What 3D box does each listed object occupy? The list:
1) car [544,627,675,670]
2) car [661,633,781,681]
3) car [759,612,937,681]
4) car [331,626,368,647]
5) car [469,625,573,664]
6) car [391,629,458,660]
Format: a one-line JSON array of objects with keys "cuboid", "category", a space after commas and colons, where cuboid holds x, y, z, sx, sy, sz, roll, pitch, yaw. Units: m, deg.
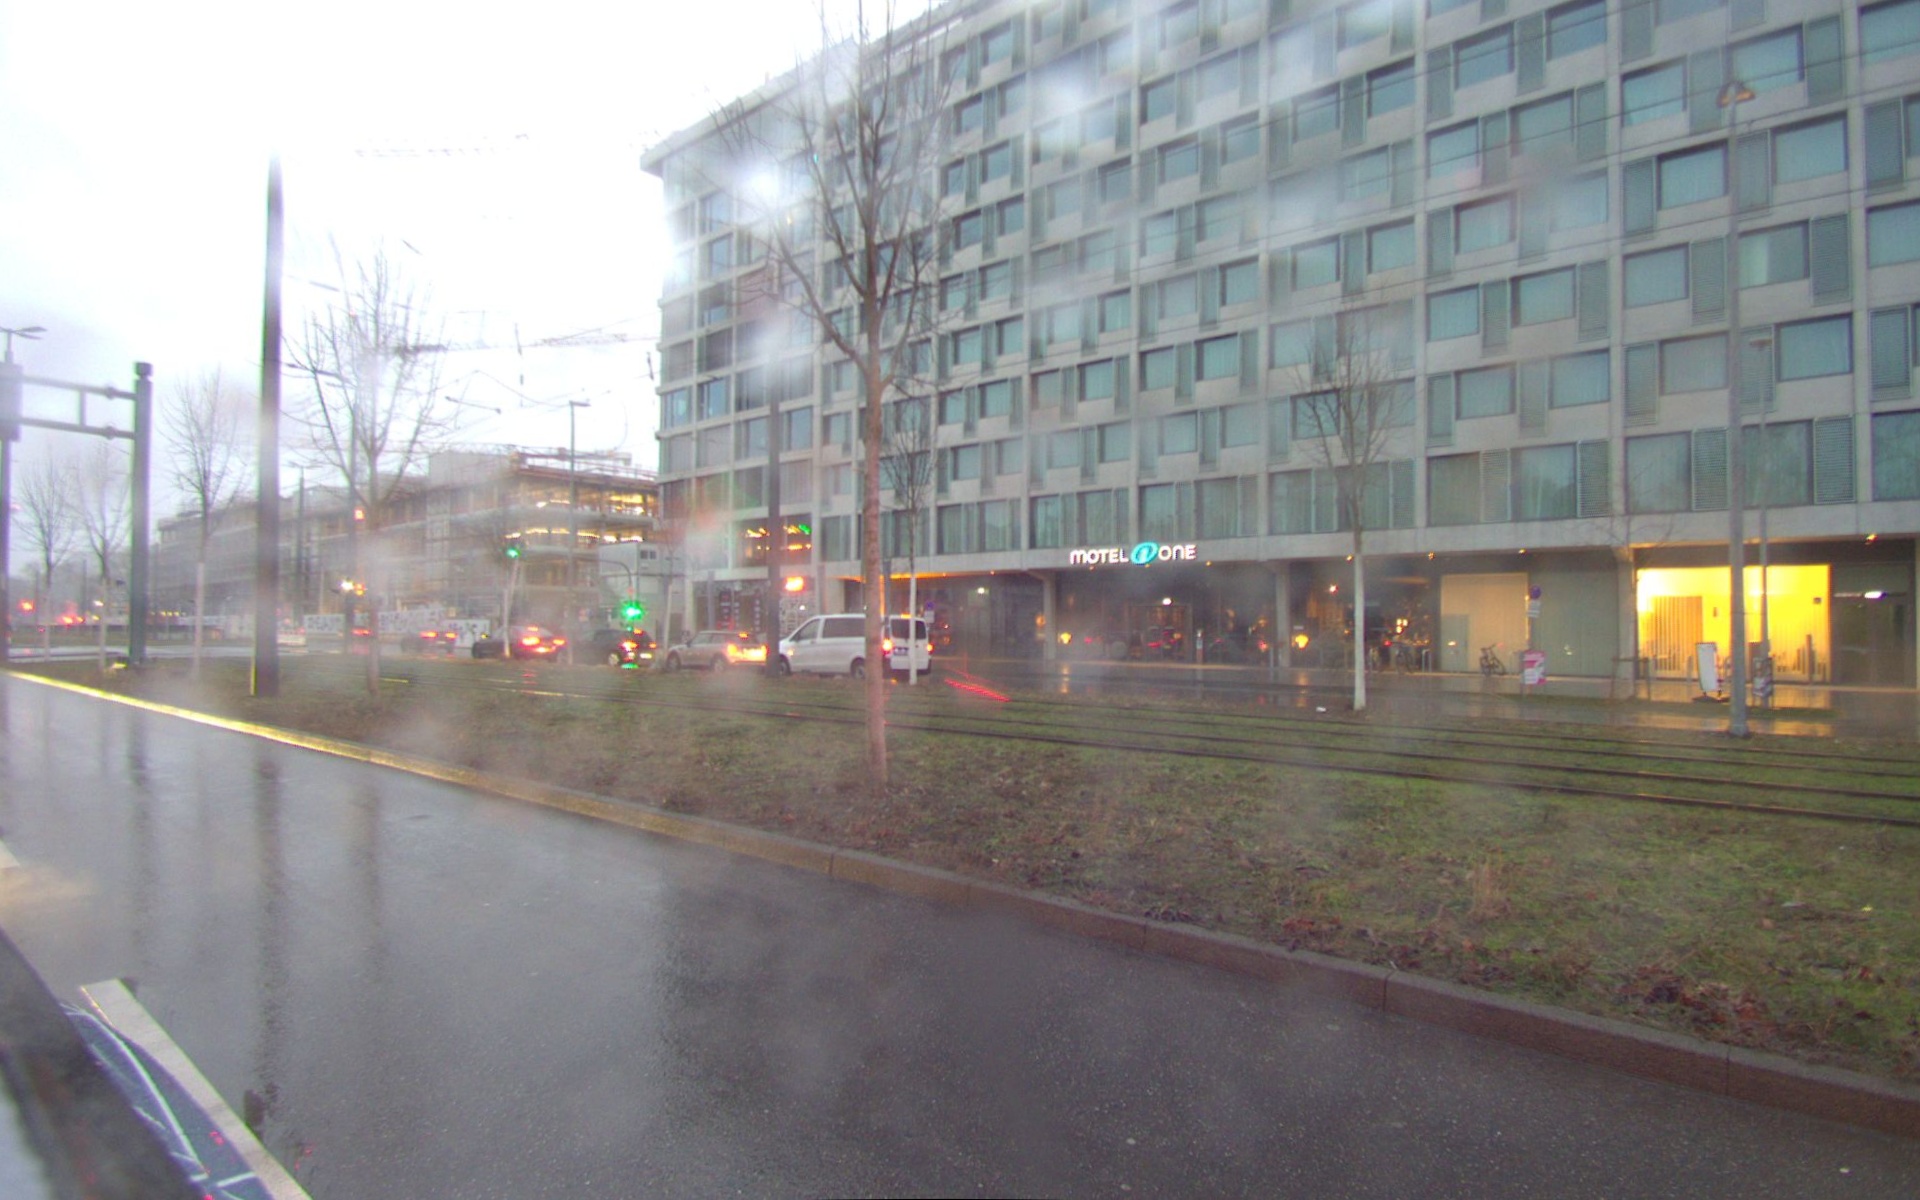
[{"cuboid": [-12.762, 1.735, 36.871, 4.425, 1.508, 1.983, -1, -2, 26], "category": "car"}, {"cuboid": [-7.682, 1.771, 32.361, 3.703, 1.442, 1.877, -1, -3, 39], "category": "car"}, {"cuboid": [-3.159, 1.239, 27.875, 5.114, 1.732, 1.876, -1, -3, 40], "category": "car"}, {"cuboid": [-52.048, 3.088, 86.271, 1.872, 1.732, 4.923, 2, -2, -41], "category": "car"}, {"cuboid": [-17.962, 1.785, 41.264, 5.032, 1.479, 1.972, -2, -3, 42], "category": "car"}, {"cuboid": [-31.358, 2.581, 59.202, 4.914, 1.732, 1.876, -1, -2, 41], "category": "car"}]
